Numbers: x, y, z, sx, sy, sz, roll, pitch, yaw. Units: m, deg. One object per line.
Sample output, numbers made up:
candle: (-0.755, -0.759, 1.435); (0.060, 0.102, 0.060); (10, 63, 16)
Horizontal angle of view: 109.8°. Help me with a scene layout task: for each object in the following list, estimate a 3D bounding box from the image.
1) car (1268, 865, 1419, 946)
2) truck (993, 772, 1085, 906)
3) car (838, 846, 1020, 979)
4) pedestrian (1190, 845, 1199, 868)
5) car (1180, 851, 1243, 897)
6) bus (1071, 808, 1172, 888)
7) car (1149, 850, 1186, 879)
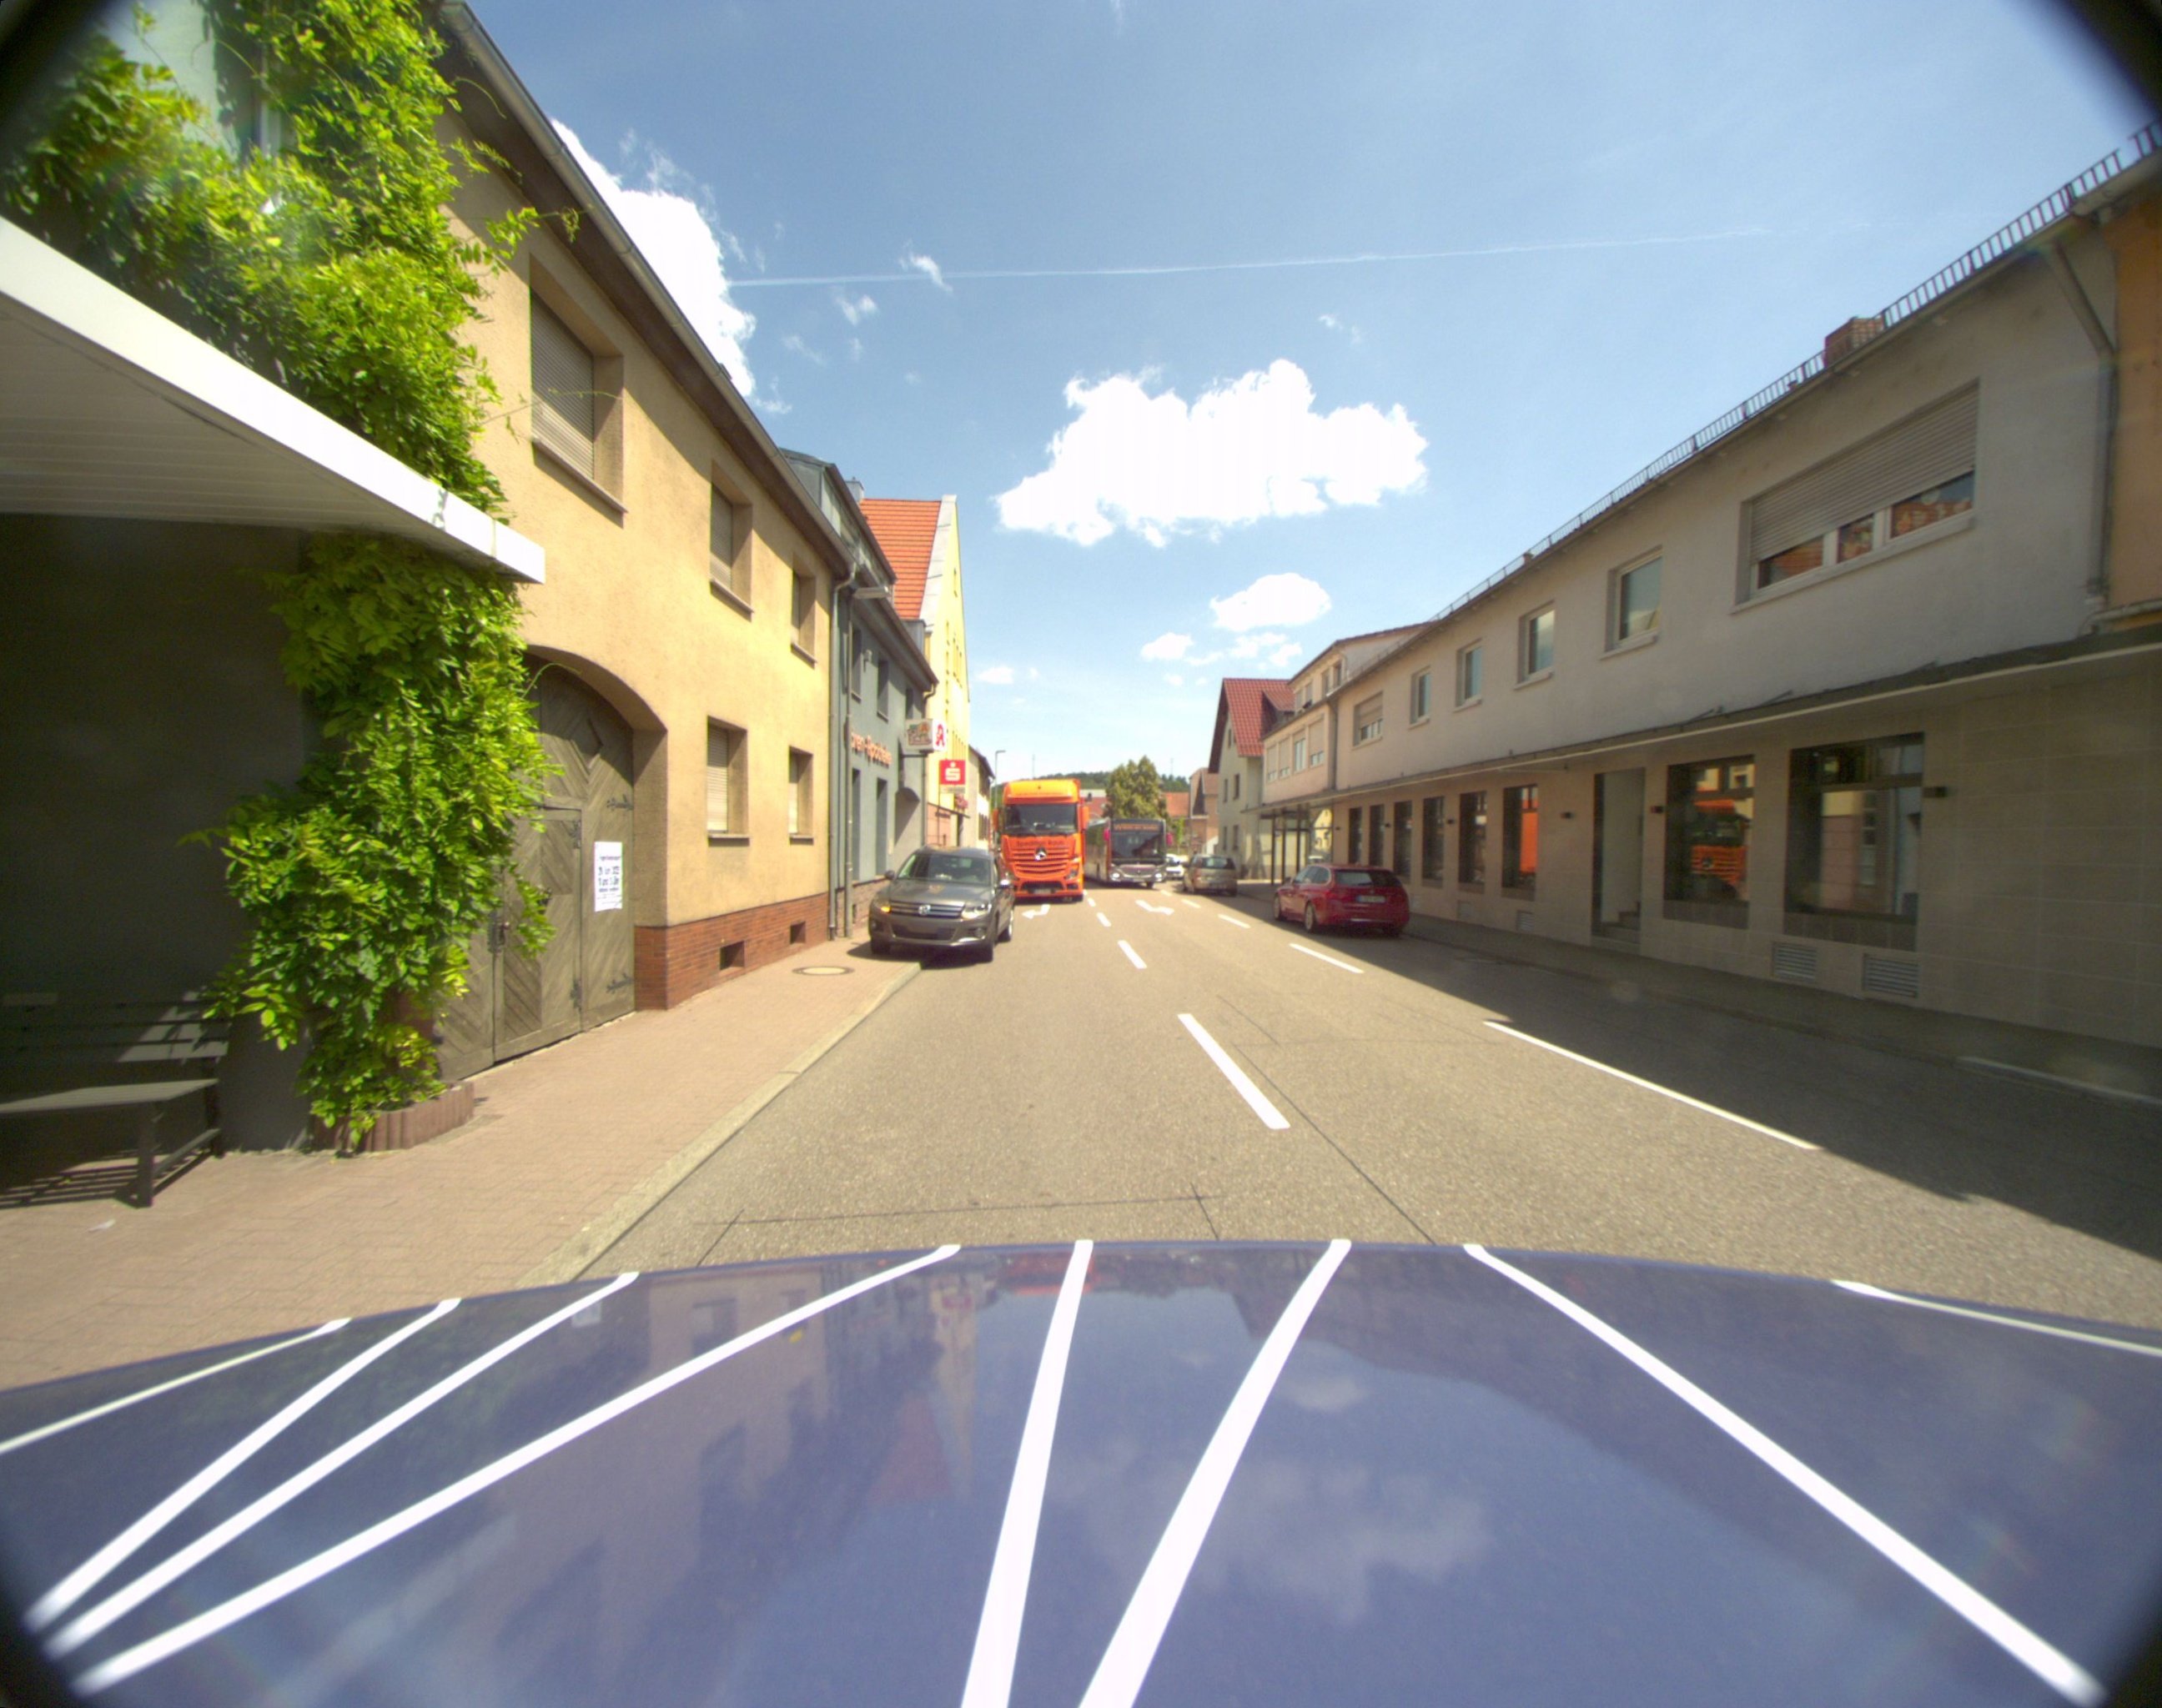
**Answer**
car: (5.365, 0.977, 16.150); (1.722, 1.400, 4.285); (3, 0, 1)
truck: (-1.246, -0.432, 27.766); (2.615, 3.922, 9.992); (-2, 0, 0)
car: (-2.216, 0.767, 12.285); (1.998, 1.699, 4.100); (2, 1, 1)
pedestrian: (8.836, 0.210, 59.299); (0.472, 1.754, 0.478); (0, 2, -23)
car: (5.105, 0.761, 30.261); (1.683, 1.607, 3.820); (4, 0, -1)
bus: (1.504, -0.272, 40.098); (2.860, 3.186, 19.023); (-1, 0, -4)
car: (4.780, 0.555, 42.489); (1.601, 1.447, 3.446); (2, 1, 0)
